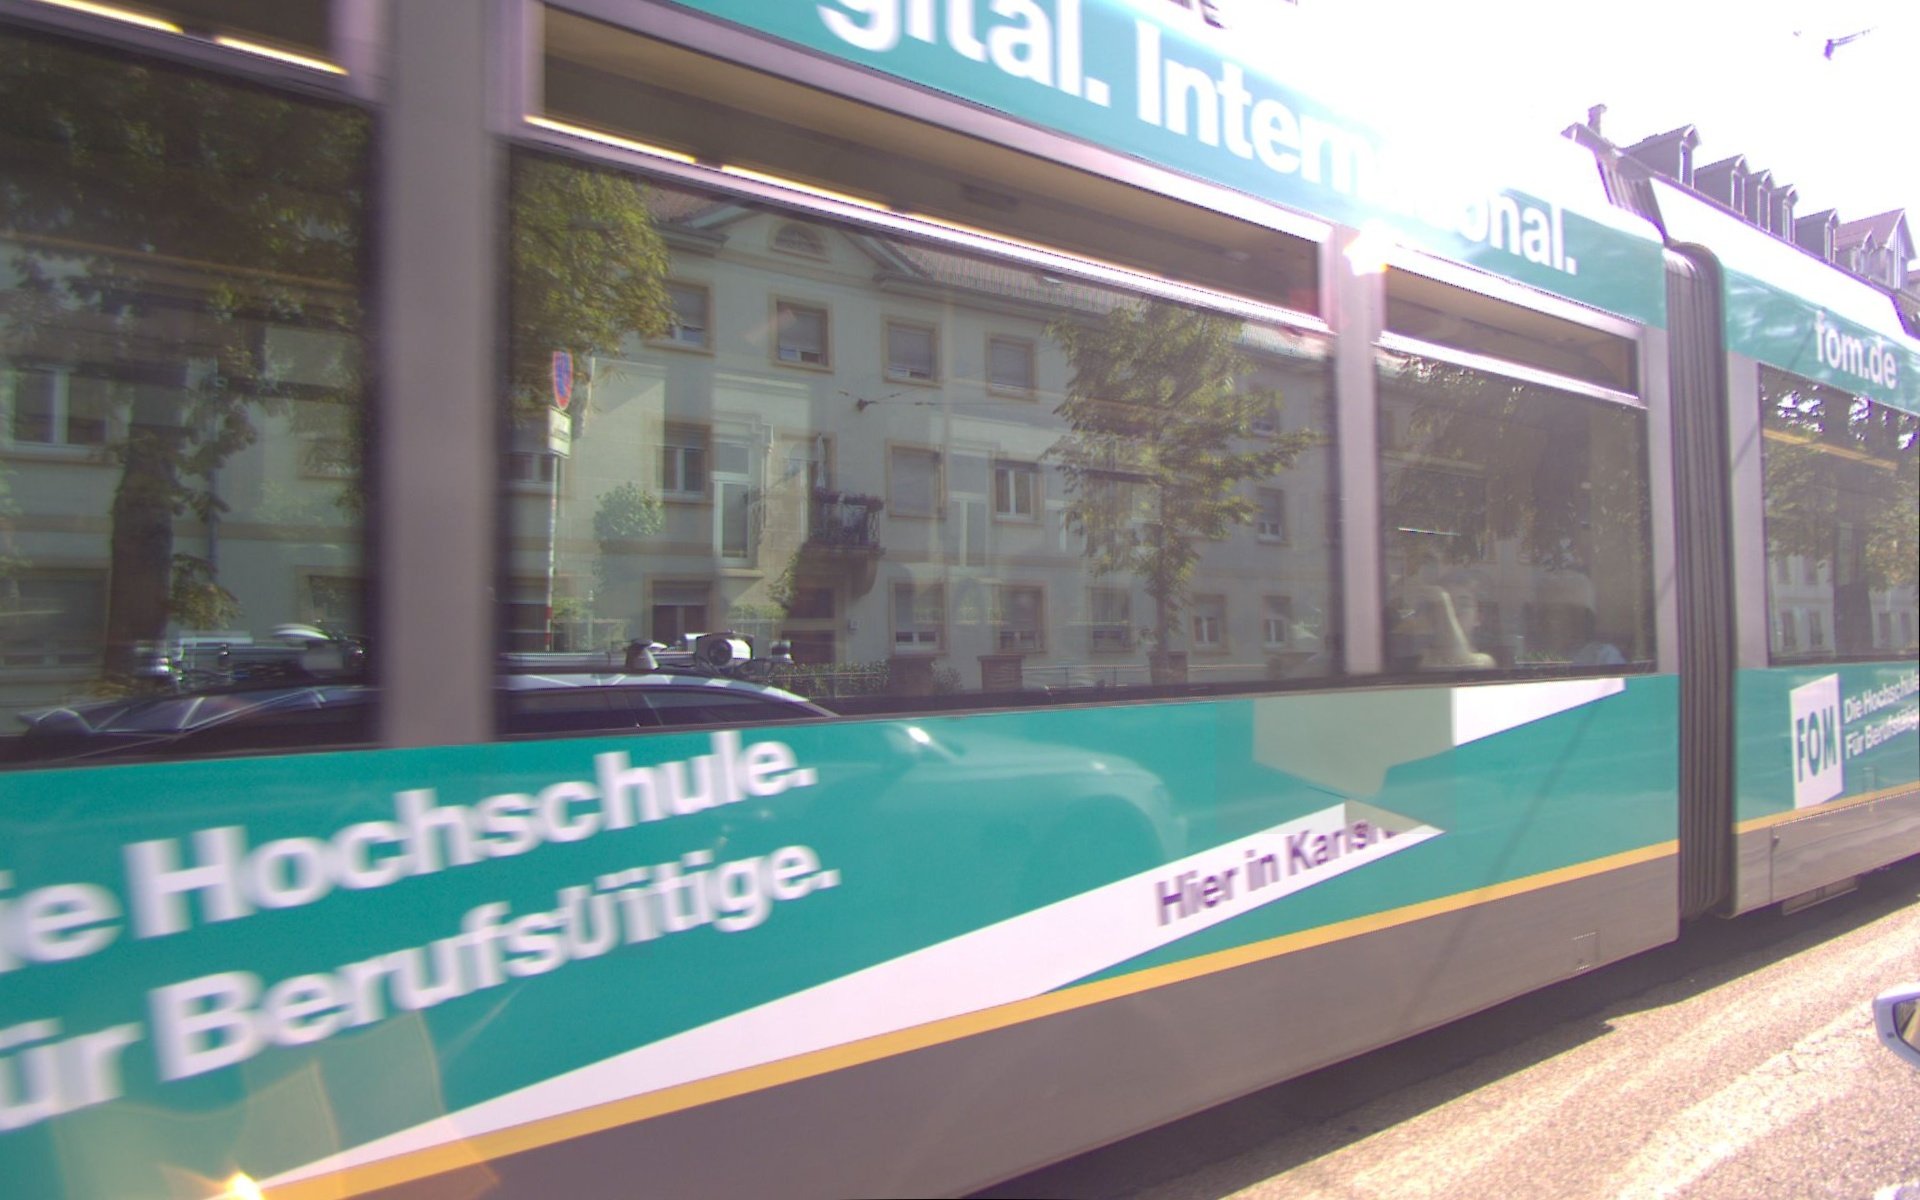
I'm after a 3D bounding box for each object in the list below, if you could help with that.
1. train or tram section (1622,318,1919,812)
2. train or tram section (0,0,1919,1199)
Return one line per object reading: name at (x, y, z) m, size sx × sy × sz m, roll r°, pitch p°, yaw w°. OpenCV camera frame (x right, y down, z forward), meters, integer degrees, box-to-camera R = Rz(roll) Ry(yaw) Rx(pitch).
train or tram section at (11.070, -0.191, 10.605) m, size 10.658 × 3.552 × 2.719 m, roll 1°, pitch 0°, yaw -33°
train or tram section at (2.070, -0.378, 4.795) m, size 10.658 × 3.552 × 2.719 m, roll 1°, pitch 0°, yaw -33°
